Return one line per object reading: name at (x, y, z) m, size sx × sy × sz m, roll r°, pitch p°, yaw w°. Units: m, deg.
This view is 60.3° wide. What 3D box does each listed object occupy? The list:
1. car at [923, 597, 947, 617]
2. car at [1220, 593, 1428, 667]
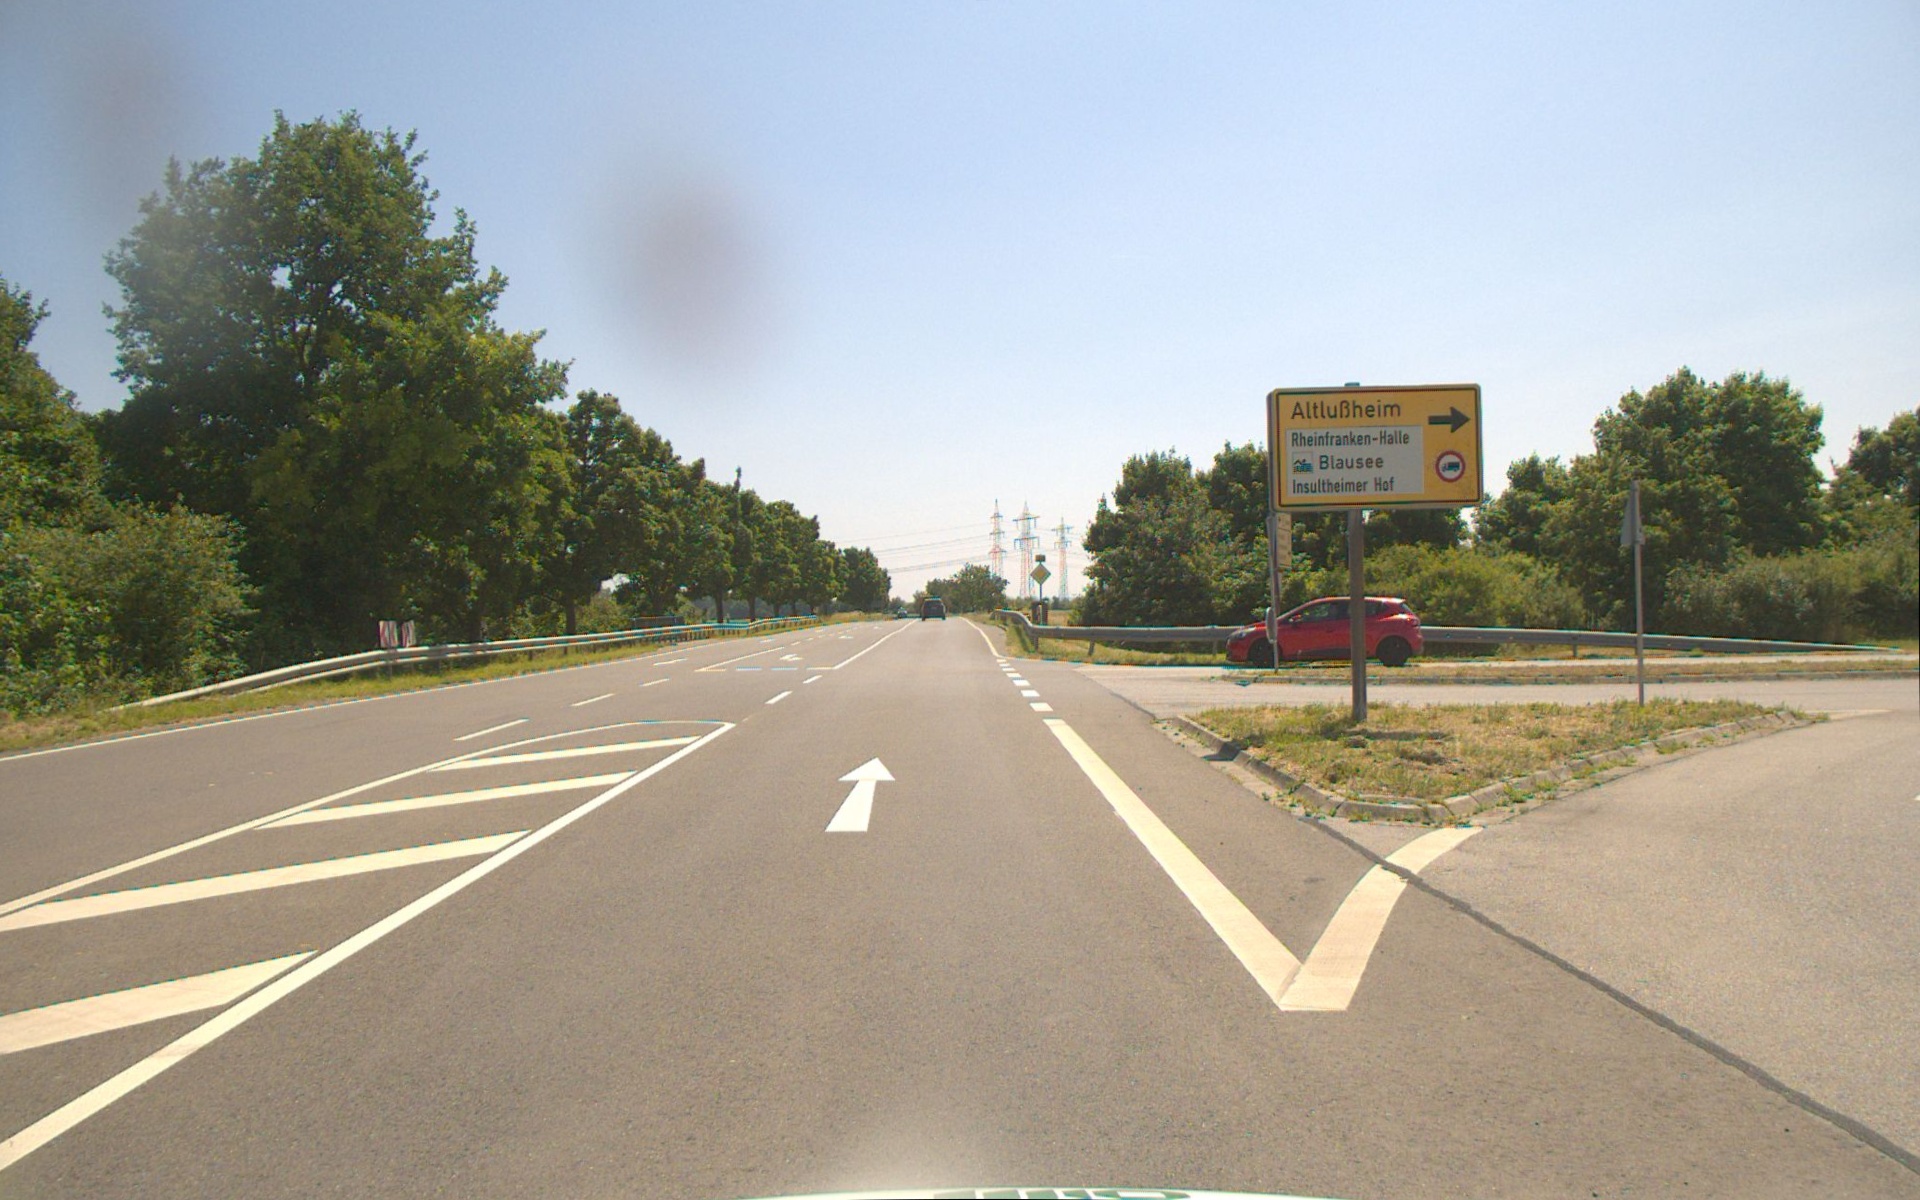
car at (-2.004, 0.571, 131.210) m, size 1.847 × 1.544 × 4.037 m, roll 0°, pitch 0°, yaw -2°
car at (7.467, 0.615, 34.058) m, size 4.064 × 1.443 × 1.781 m, roll -1°, pitch -1°, yaw 13°
